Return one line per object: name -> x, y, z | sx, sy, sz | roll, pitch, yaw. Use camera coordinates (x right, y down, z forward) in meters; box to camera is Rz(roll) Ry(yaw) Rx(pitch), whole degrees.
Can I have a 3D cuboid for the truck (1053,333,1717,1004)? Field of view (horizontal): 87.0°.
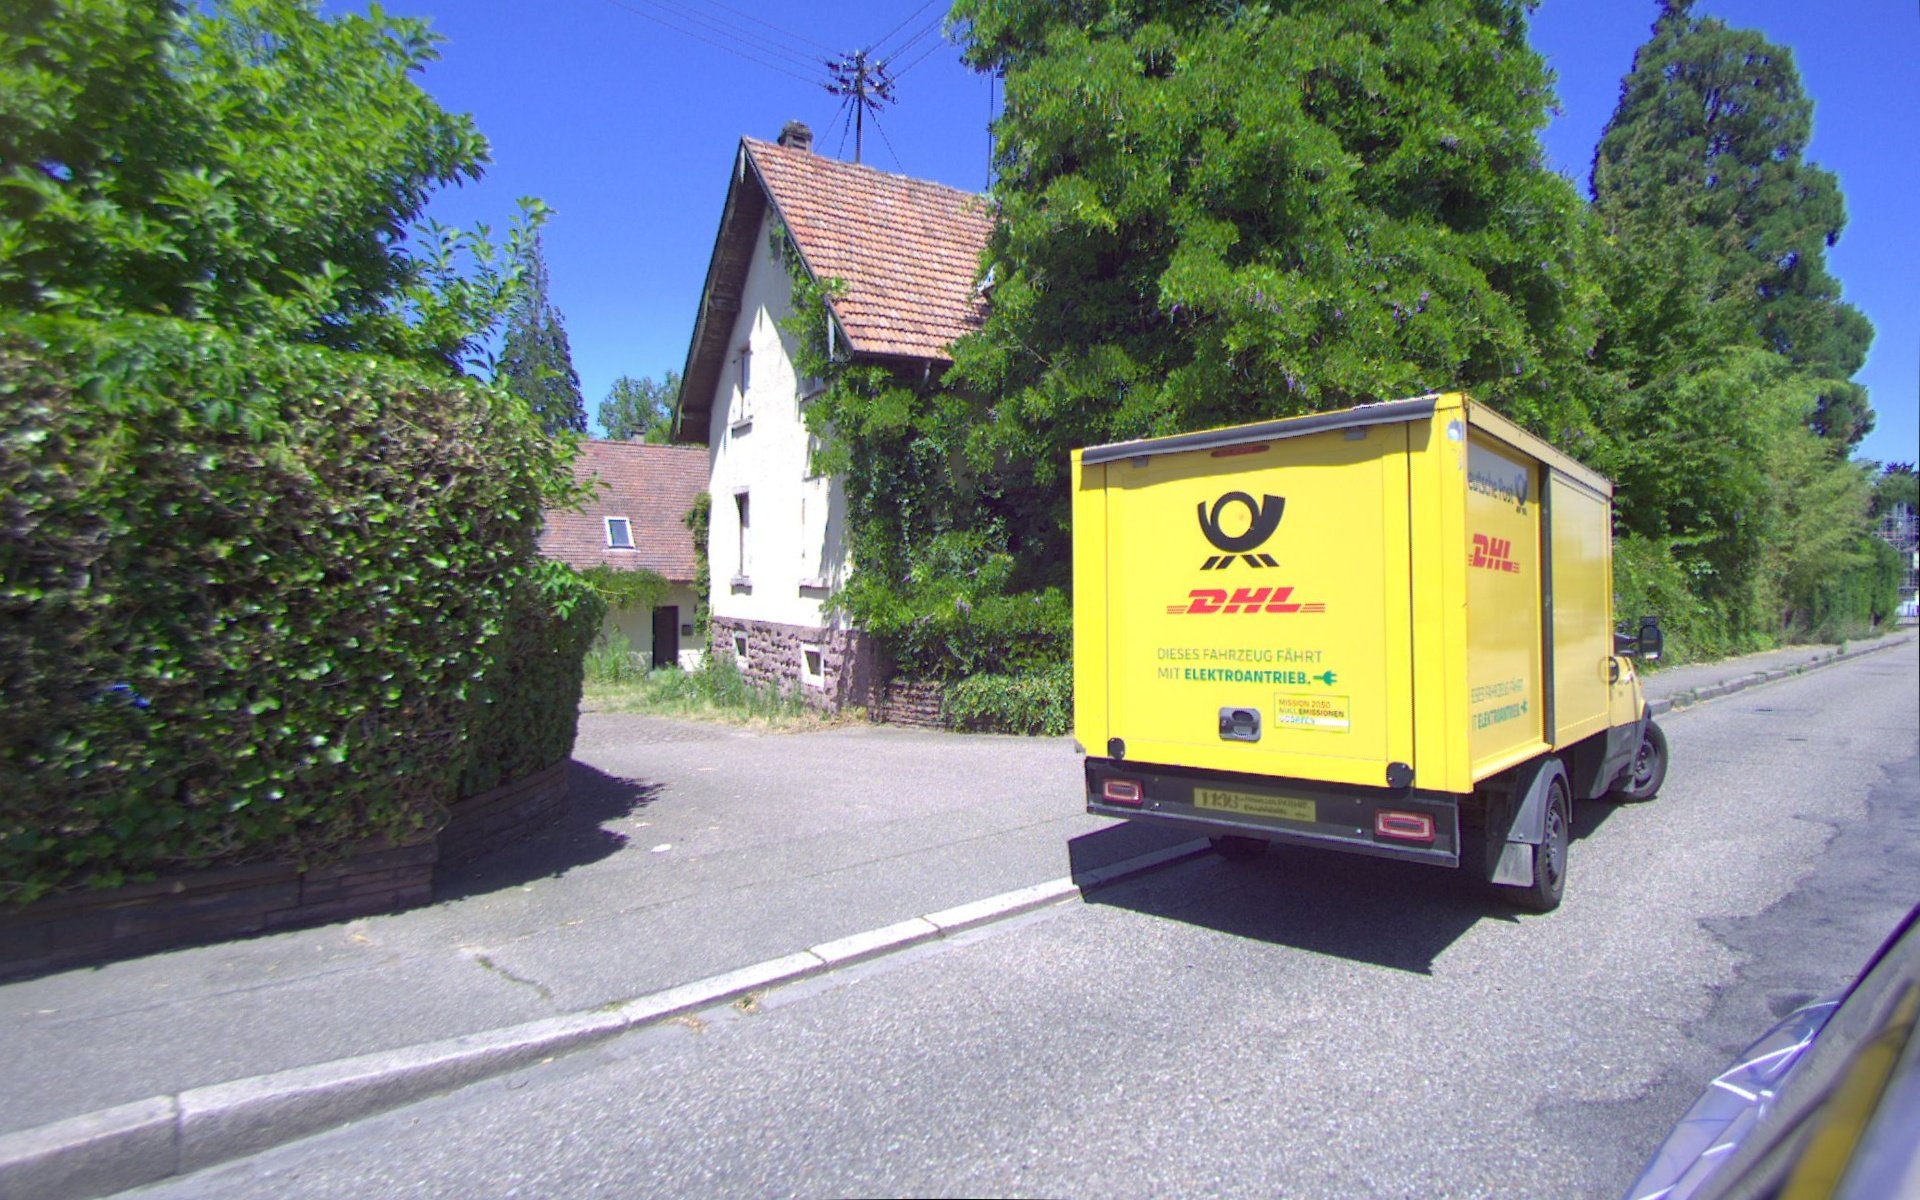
truck -> 3.232, 0.256, 6.484 | 2.012, 2.338, 6.082 | -2, -1, 42
